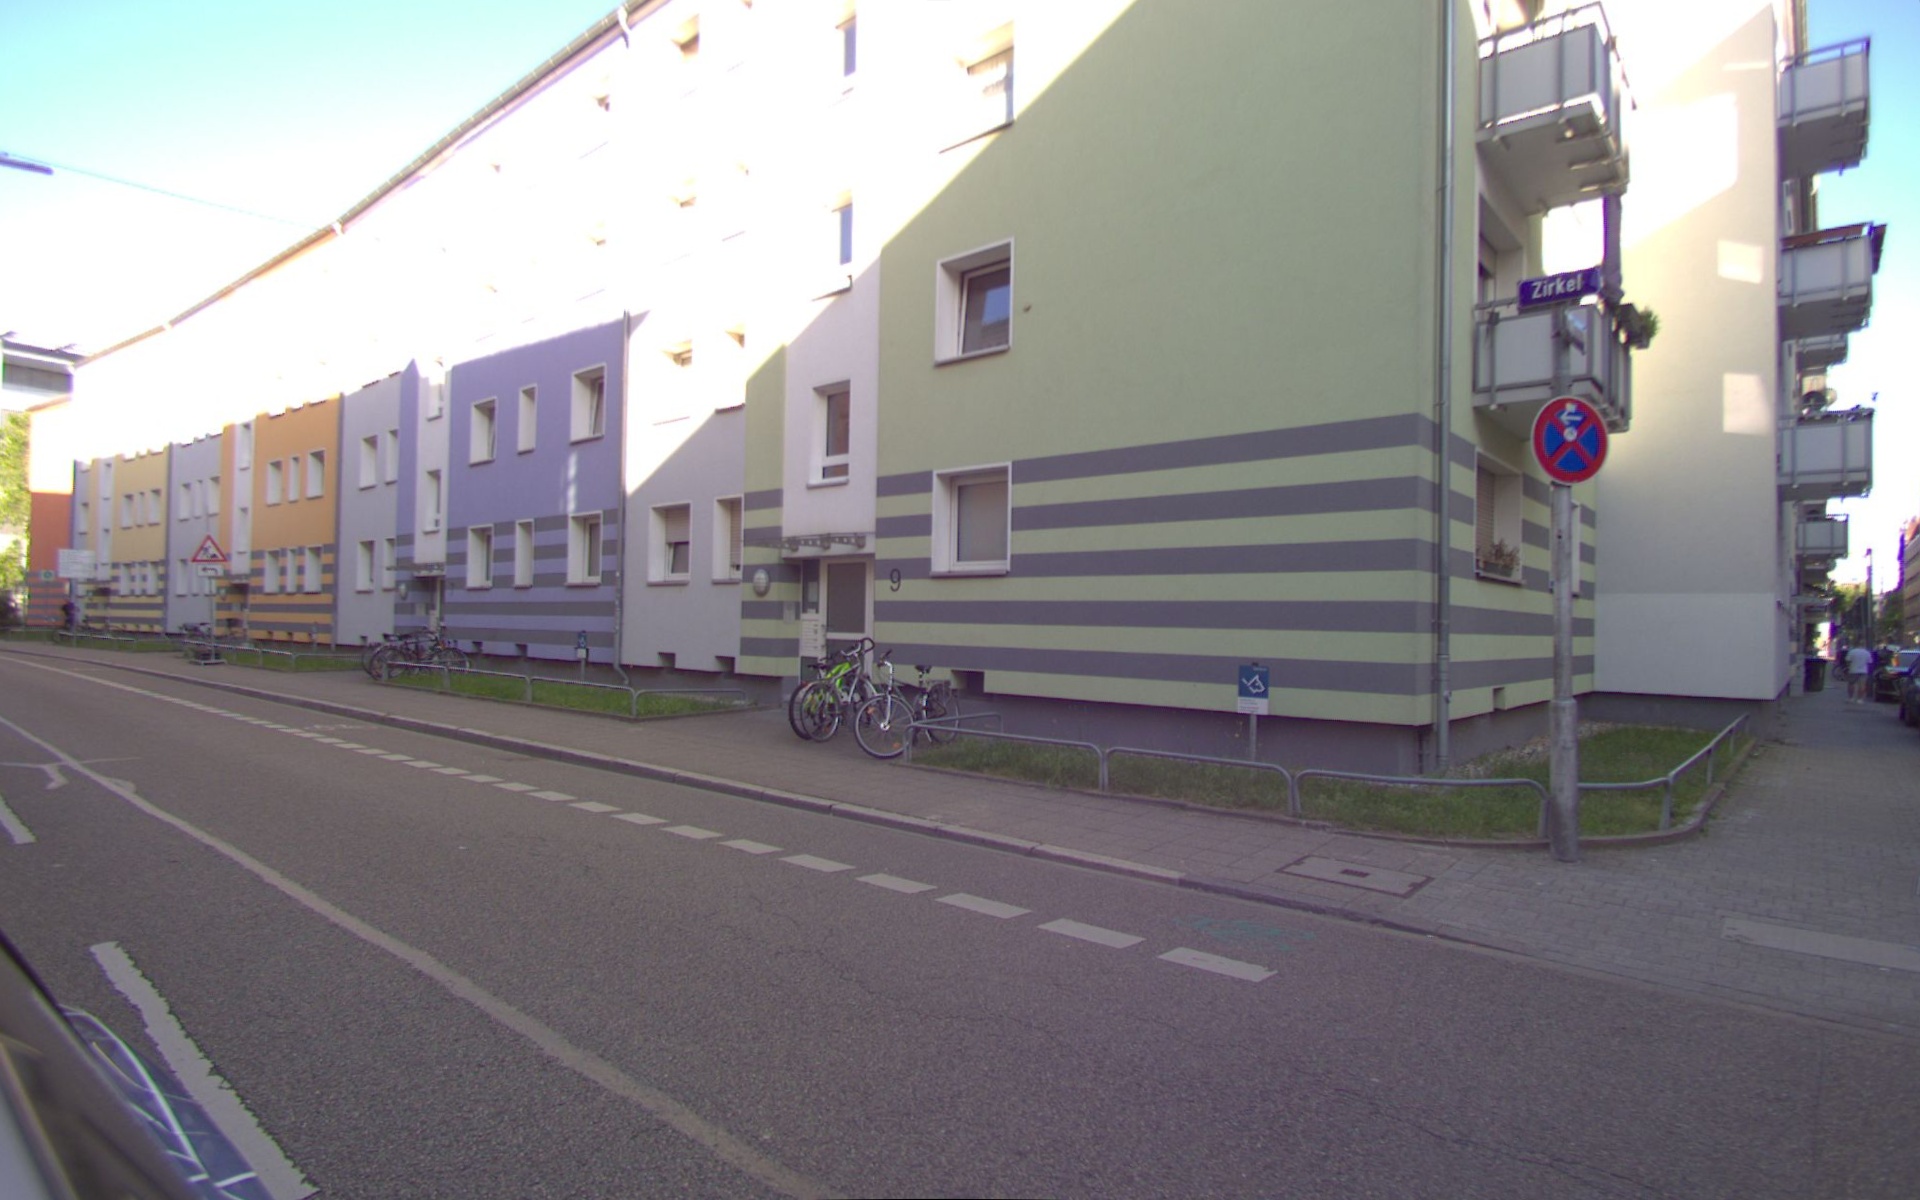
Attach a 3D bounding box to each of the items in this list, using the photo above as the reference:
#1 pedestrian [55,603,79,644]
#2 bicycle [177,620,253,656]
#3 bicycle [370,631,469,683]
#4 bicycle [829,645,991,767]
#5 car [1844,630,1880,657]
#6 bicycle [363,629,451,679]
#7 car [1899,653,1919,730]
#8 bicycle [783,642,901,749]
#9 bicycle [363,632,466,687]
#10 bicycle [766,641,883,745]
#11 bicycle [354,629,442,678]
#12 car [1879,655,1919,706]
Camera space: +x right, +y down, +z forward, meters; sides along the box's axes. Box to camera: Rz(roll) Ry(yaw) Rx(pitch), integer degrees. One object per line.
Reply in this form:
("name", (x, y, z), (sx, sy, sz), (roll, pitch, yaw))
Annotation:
("pedestrian", (-36.416, 0.954, 41.258), (0.447, 1.663, 0.605), (0, -2, 35))
("bicycle", (-23.312, 1.181, 31.679), (0.653, 0.990, 1.786), (0, 2, 38))
("bicycle", (-11.251, 1.167, 21.130), (0.388, 0.953, 1.779), (0, 2, 41))
("bicycle", (-0.516, 1.122, 11.230), (0.749, 1.109, 1.797), (0, 2, 41))
("car", (54.169, 2.612, 60.791), (1.585, 1.519, 3.847), (0, -2, 42))
("bicycle", (-12.062, 1.162, 22.110), (0.388, 0.953, 1.636), (0, 2, 41))
("car", (19.250, 1.734, 19.476), (1.485, 1.400, 3.360), (-2, -3, 39))
("bicycle", (-1.413, 1.129, 12.385), (0.387, 1.109, 1.719), (-1, 1, 34))
("bicycle", (-10.973, 1.171, 20.396), (0.388, 0.953, 1.779), (0, 2, 41))
("bicycle", (-1.663, 1.127, 12.713), (0.387, 1.109, 1.719), (-1, 1, 34))
("bicycle", (-12.393, 1.156, 22.348), (0.388, 0.953, 1.636), (0, 2, 41))
("car", (26.258, 2.193, 27.891), (1.259, 1.300, 3.039), (-3, -4, 44))
